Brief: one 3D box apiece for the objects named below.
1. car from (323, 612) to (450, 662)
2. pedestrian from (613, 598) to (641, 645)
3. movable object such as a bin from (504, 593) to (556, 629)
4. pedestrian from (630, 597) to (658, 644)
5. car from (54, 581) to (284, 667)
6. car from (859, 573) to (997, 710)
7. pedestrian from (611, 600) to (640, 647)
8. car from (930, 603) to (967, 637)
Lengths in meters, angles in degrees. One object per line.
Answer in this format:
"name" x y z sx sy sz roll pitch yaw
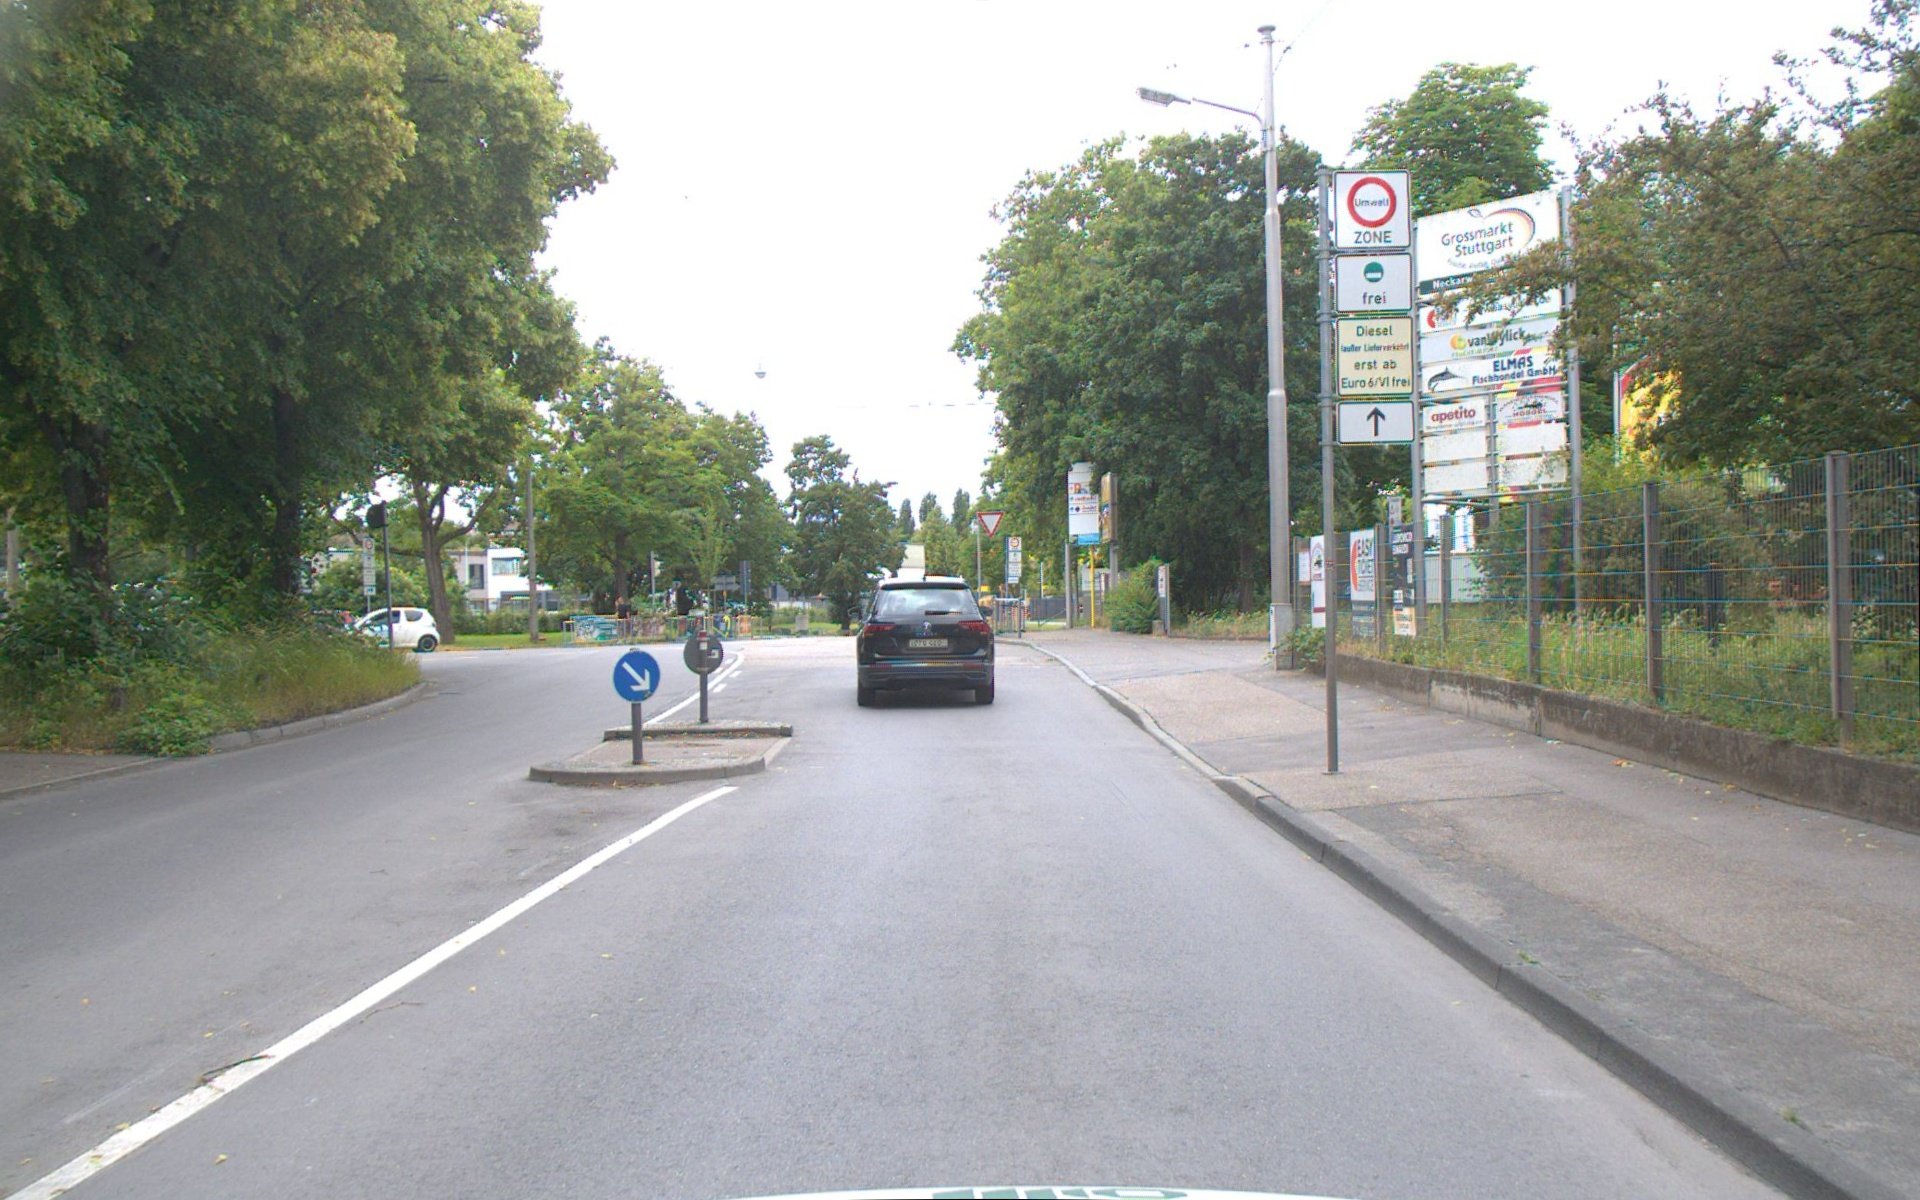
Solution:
"car" -18.298 1.166 52.778 3.566 1.434 1.724 -2 0 -30
"pedestrian" -12.966 0.838 64.390 0.730 1.772 0.724 -2 0 39
"movable object such as a bin" -25.674 0.641 98.833 1.952 2.049 2.400 -2 0 20
"pedestrian" -12.230 0.798 64.013 0.730 1.772 0.724 -2 0 39
"car" -24.643 0.731 51.749 5.956 2.429 2.390 -2 0 -8
"car" -0.457 0.480 22.220 1.704 1.646 3.640 0 1 -2
"pedestrian" -12.827 0.899 63.412 0.730 1.772 0.724 -2 0 39
"car" -0.551 0.966 81.423 1.624 1.602 3.829 -2 0 1
